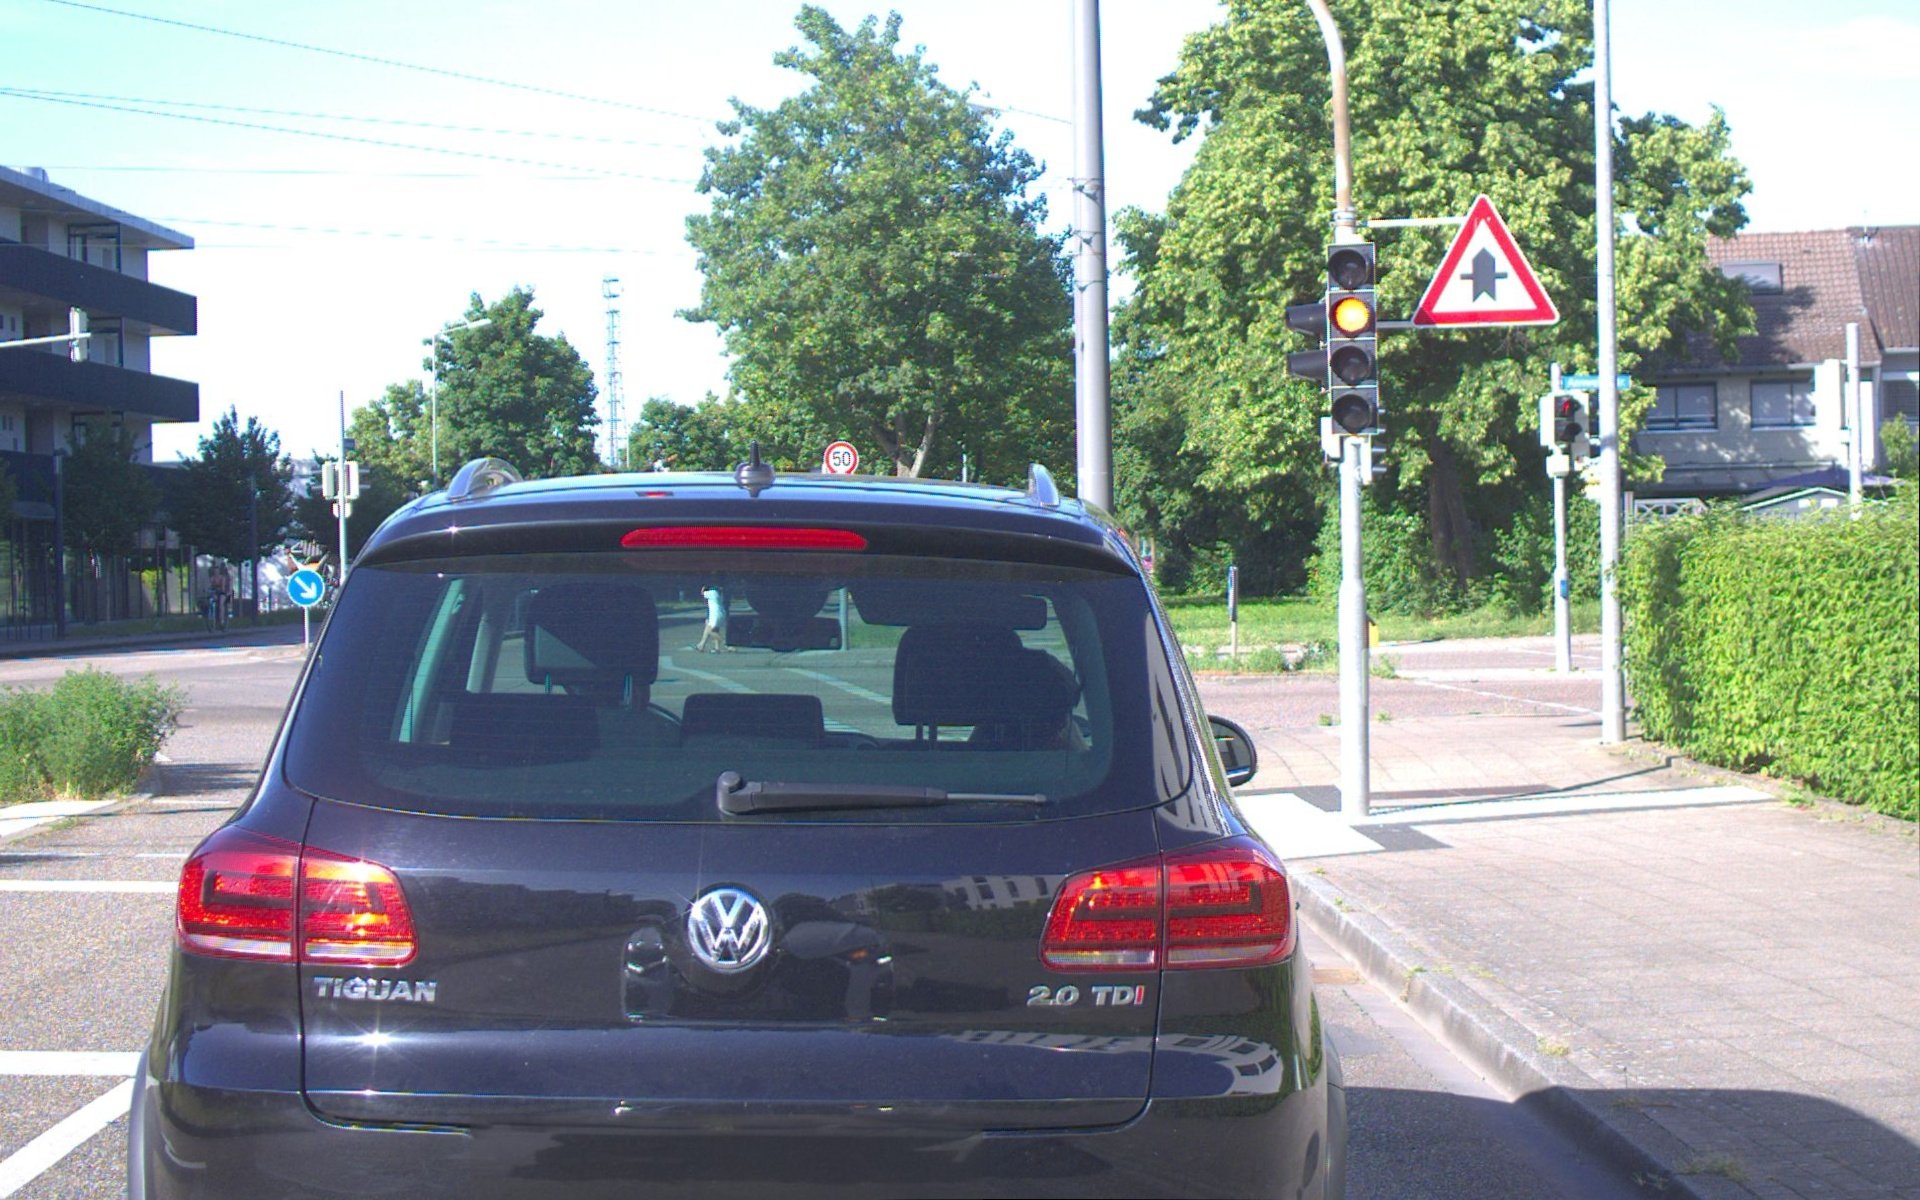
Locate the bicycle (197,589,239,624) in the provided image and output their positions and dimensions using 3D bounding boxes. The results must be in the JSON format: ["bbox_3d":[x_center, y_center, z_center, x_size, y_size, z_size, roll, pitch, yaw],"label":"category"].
[{"bbox_3d":[-18.708,0.150,86.714,0.496,0.845,2.078,0,1,3],"label":"bicycle"}]

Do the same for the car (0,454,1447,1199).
[{"bbox_3d":[-0.381,0.597,6.511,1.905,1.637,4.000,0,1,-2],"label":"car"}]

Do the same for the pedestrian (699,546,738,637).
[{"bbox_3d":[-4.158,-0.148,59.247,0.603,1.559,0.529,0,1,4],"label":"pedestrian"}]

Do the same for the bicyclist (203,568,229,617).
[{"bbox_3d":[-18.724,-0.191,86.546,0.474,1.219,0.712,0,1,3],"label":"bicyclist"}]

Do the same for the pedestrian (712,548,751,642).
[{"bbox_3d":[-3.977,-0.090,59.941,0.603,1.634,0.529,0,1,4],"label":"pedestrian"}]

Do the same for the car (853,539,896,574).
[{"bbox_3d":[-3.518,-1.796,140.778,1.751,1.382,4.000,0,1,-2],"label":"car"}]
